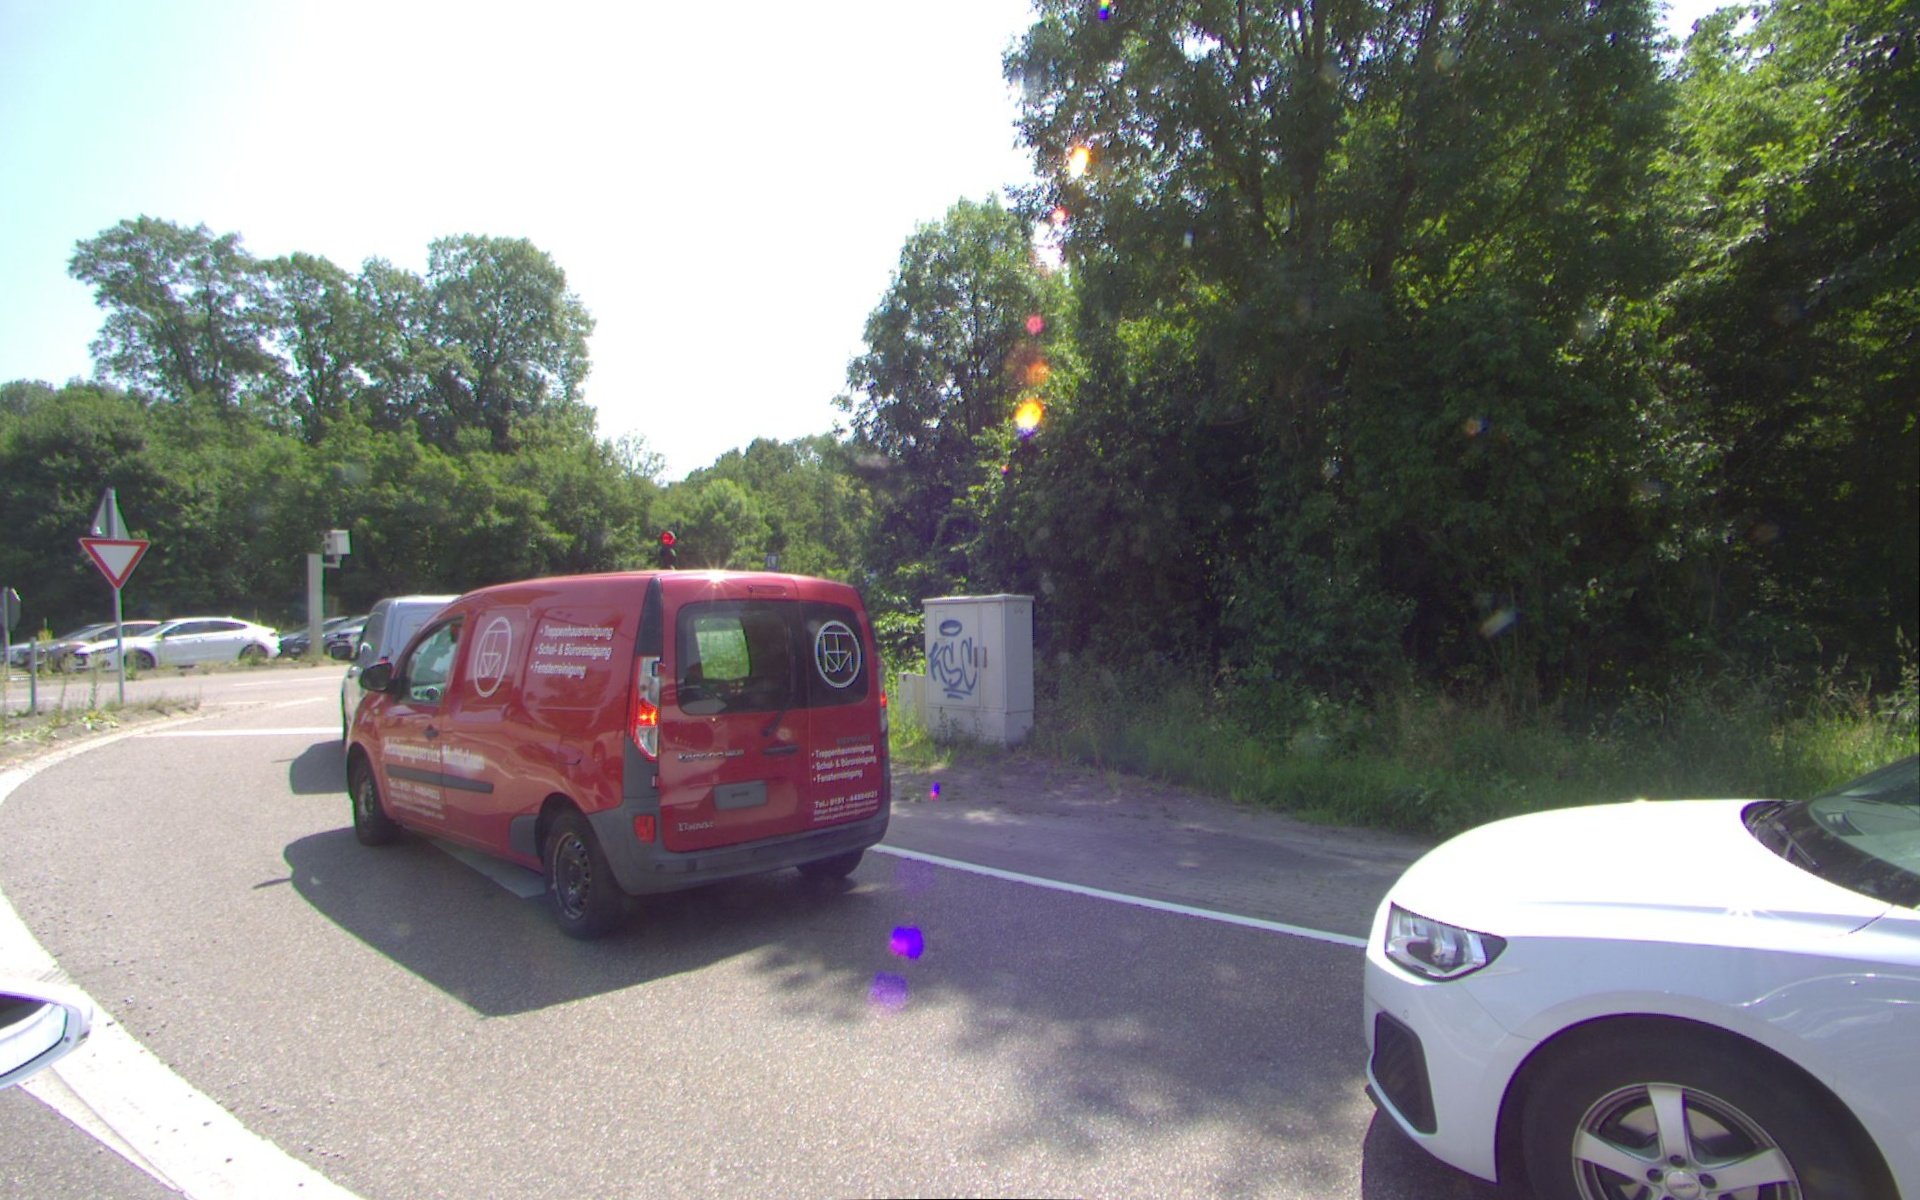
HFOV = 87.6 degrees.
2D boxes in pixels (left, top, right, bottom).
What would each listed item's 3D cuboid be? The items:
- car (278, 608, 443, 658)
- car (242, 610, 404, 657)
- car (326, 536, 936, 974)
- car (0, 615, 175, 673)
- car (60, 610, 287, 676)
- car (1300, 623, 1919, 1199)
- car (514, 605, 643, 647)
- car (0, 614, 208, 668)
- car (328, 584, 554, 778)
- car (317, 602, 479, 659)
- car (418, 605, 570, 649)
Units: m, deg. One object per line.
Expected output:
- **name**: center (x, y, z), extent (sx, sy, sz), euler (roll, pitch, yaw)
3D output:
- **car**: center (-20.518, 1.090, 34.449), extent (2.091, 1.555, 4.411), euler (-2, 0, 31)
- **car**: center (-23.332, 1.195, 36.856), extent (2.082, 1.518, 4.608), euler (-1, 0, 31)
- **car**: center (-2.361, 0.703, 6.406), extent (4.447, 1.846, 1.782), euler (-1, -2, 43)
- **car**: center (-24.926, 1.181, 28.134), extent (1.965, 1.466, 4.086), euler (-1, 0, 29)
- **car**: center (-21.117, 1.089, 27.097), extent (1.970, 1.555, 4.413), euler (-1, 0, 30)
- **car**: center (2.948, 0.796, 2.099), extent (3.946, 1.453, 1.686), euler (-1, -3, 35)
- **car**: center (-14.511, 0.963, 38.287), extent (1.946, 1.433, 4.321), euler (-1, 0, 32)
- **car**: center (-27.006, 1.251, 31.528), extent (1.992, 1.518, 4.922), euler (-2, -1, 32)
- **car**: center (-6.051, 0.770, 11.428), extent (1.740, 1.797, 4.084), euler (-1, 0, -35)
- **car**: center (-18.145, 0.946, 32.535), extent (1.971, 1.681, 4.164), euler (-1, 0, 31)
- **car**: center (-18.266, 1.036, 39.528), extent (2.107, 1.554, 5.118), euler (-2, 0, 31)
